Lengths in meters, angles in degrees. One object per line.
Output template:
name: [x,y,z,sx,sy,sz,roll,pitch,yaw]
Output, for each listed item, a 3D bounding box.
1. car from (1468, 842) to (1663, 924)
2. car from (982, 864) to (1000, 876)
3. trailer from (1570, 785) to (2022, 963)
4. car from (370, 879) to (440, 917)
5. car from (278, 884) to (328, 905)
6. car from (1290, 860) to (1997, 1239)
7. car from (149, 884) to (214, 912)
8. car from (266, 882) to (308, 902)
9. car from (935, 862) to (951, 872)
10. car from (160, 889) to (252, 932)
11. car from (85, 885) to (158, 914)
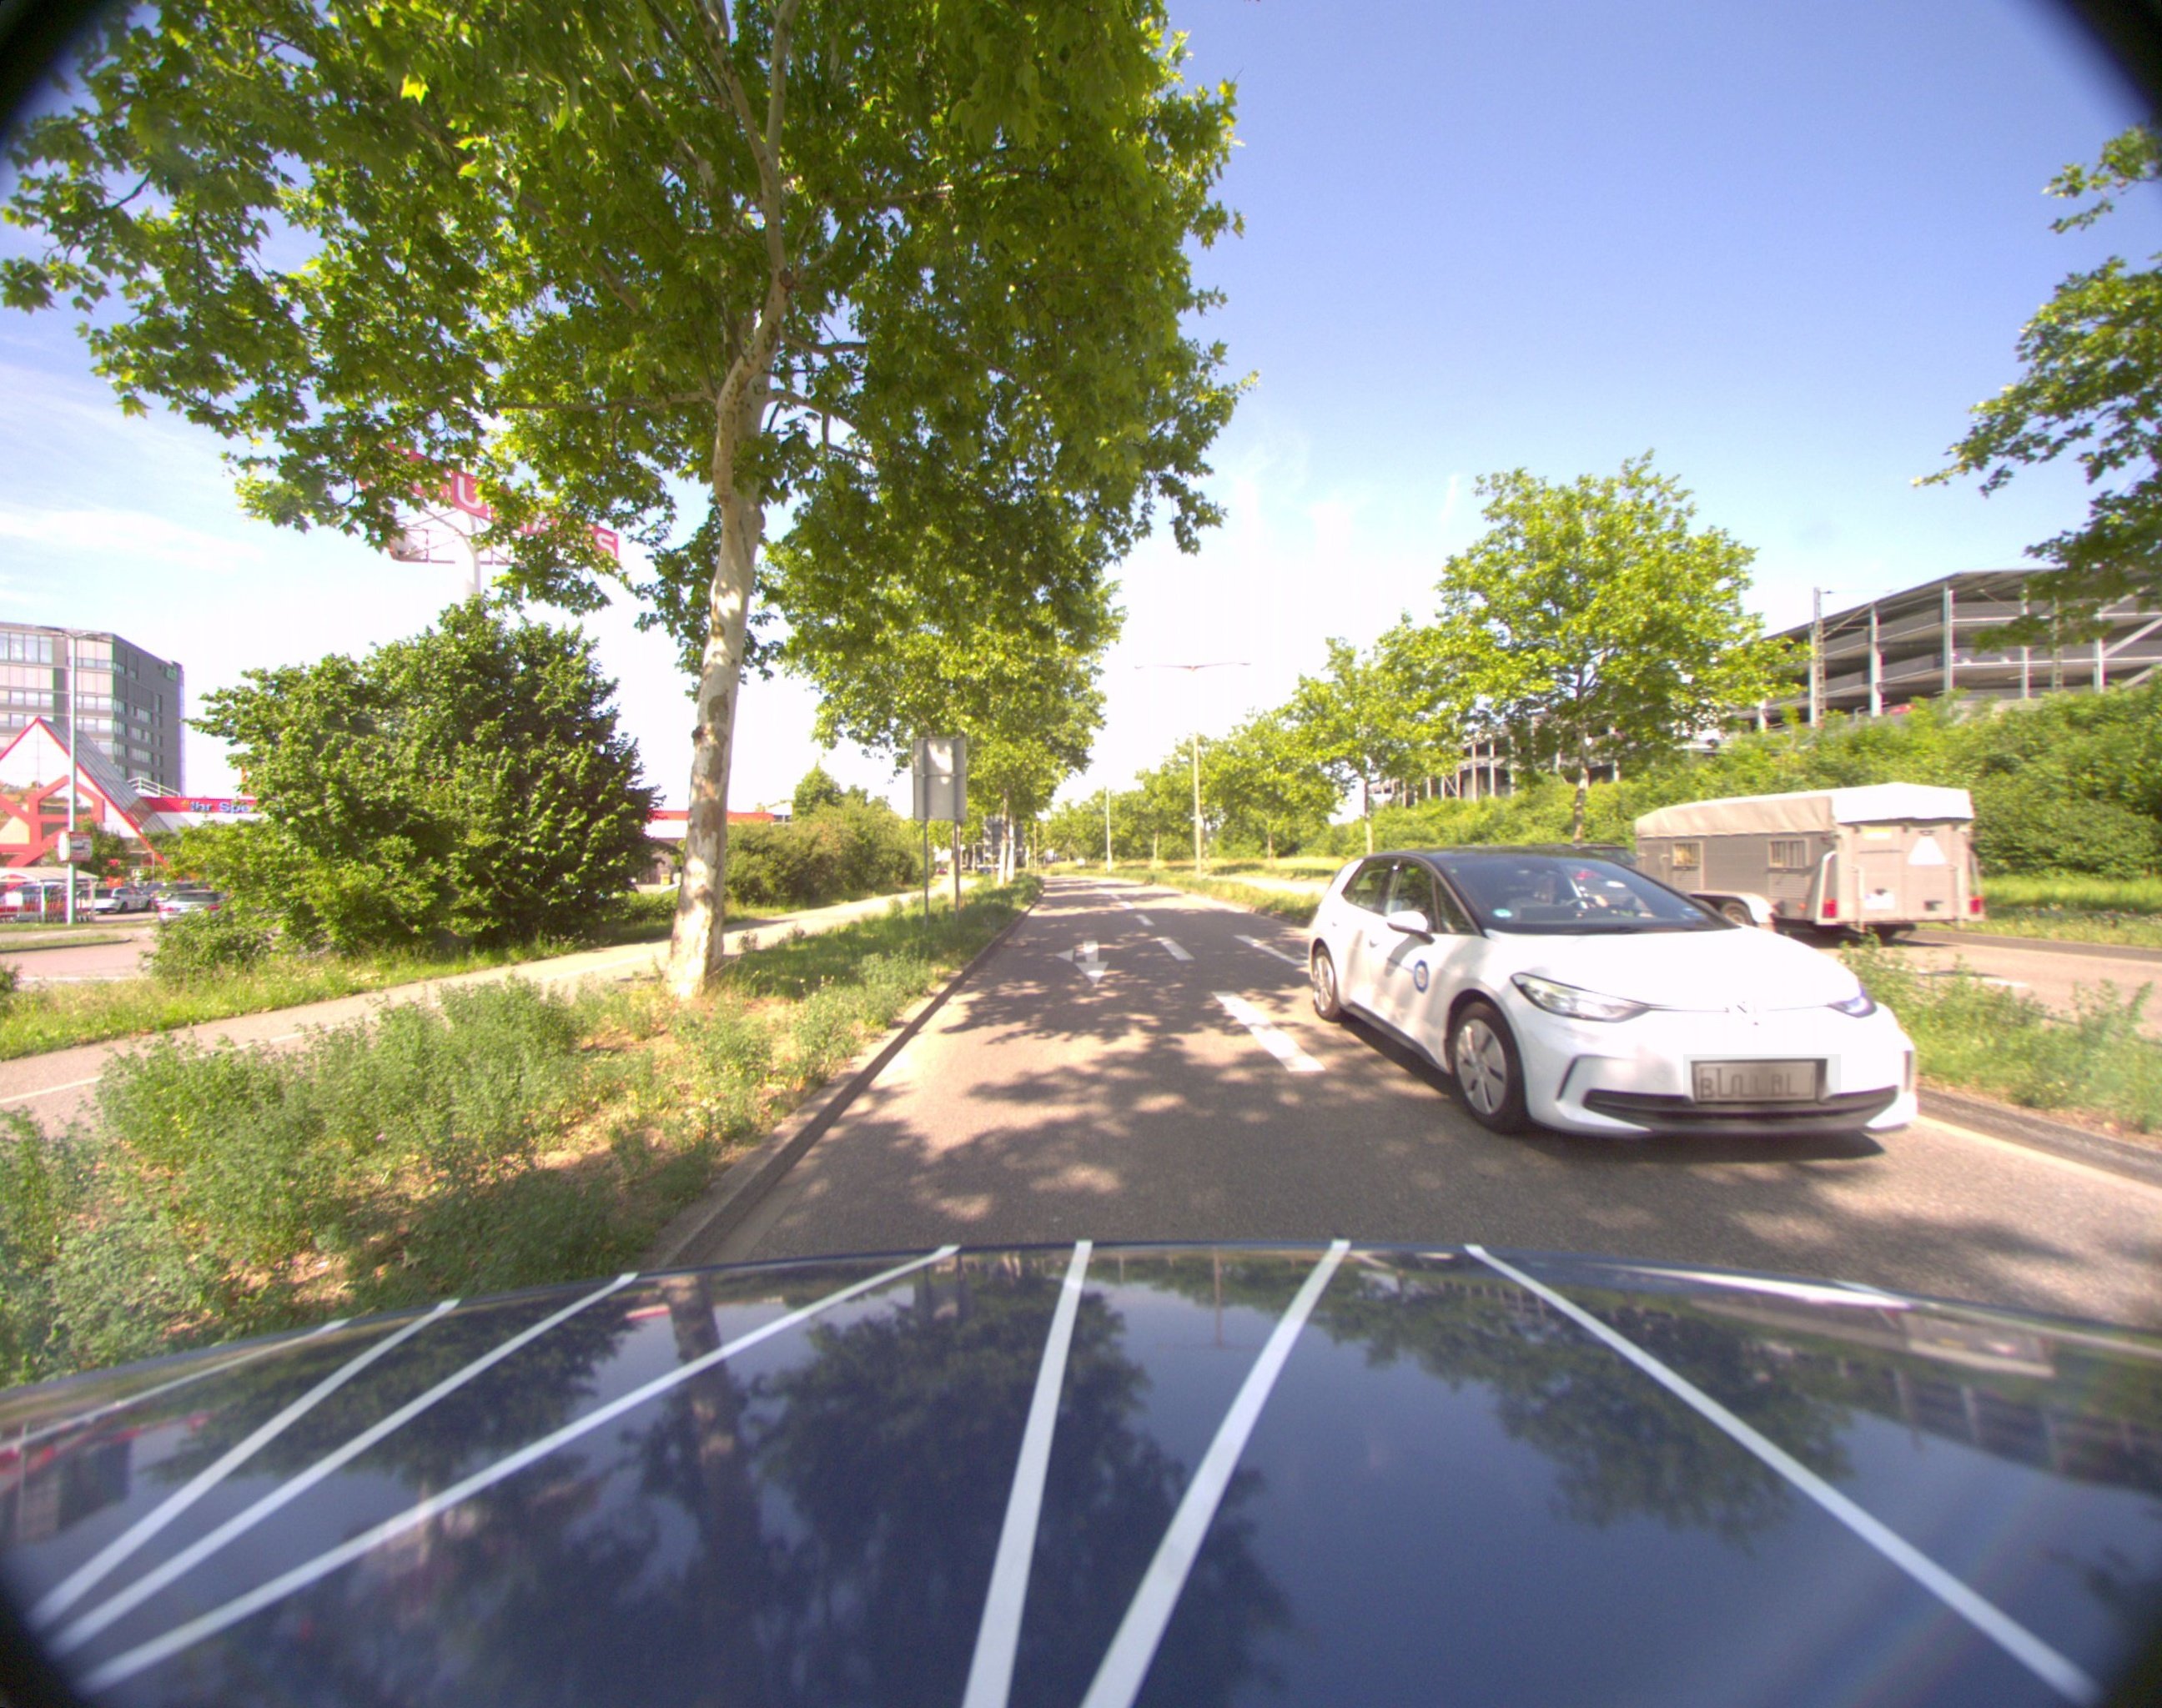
car: [10.840,0.568,17.422,1.719,1.612,4.360,-1,0,1]
car: [-12.326,2.125,103.781,1.724,1.575,3.749,-2,0,-17]
trailer: [11.041,0.241,12.604,2.314,2.252,5.538,-1,0,1]
car: [-31.437,2.002,35.441,2.004,1.499,3.989,-2,0,-36]
car: [-46.519,2.404,45.488,1.521,1.053,3.179,-3,1,-36]
car: [2.963,0.848,5.320,1.824,1.512,4.208,-2,0,0]
car: [-50.485,2.446,42.720,1.572,1.371,3.610,-2,0,-37]
car: [-60.092,2.820,57.542,1.572,1.371,3.610,-2,0,-37]
car: [-24.452,2.268,134.291,1.652,1.592,3.596,-2,0,-28]
car: [-35.886,2.273,31.270,1.784,1.477,3.779,-2,0,-39]
car: [-51.856,2.407,41.136,1.572,1.371,3.610,-2,0,-37]
